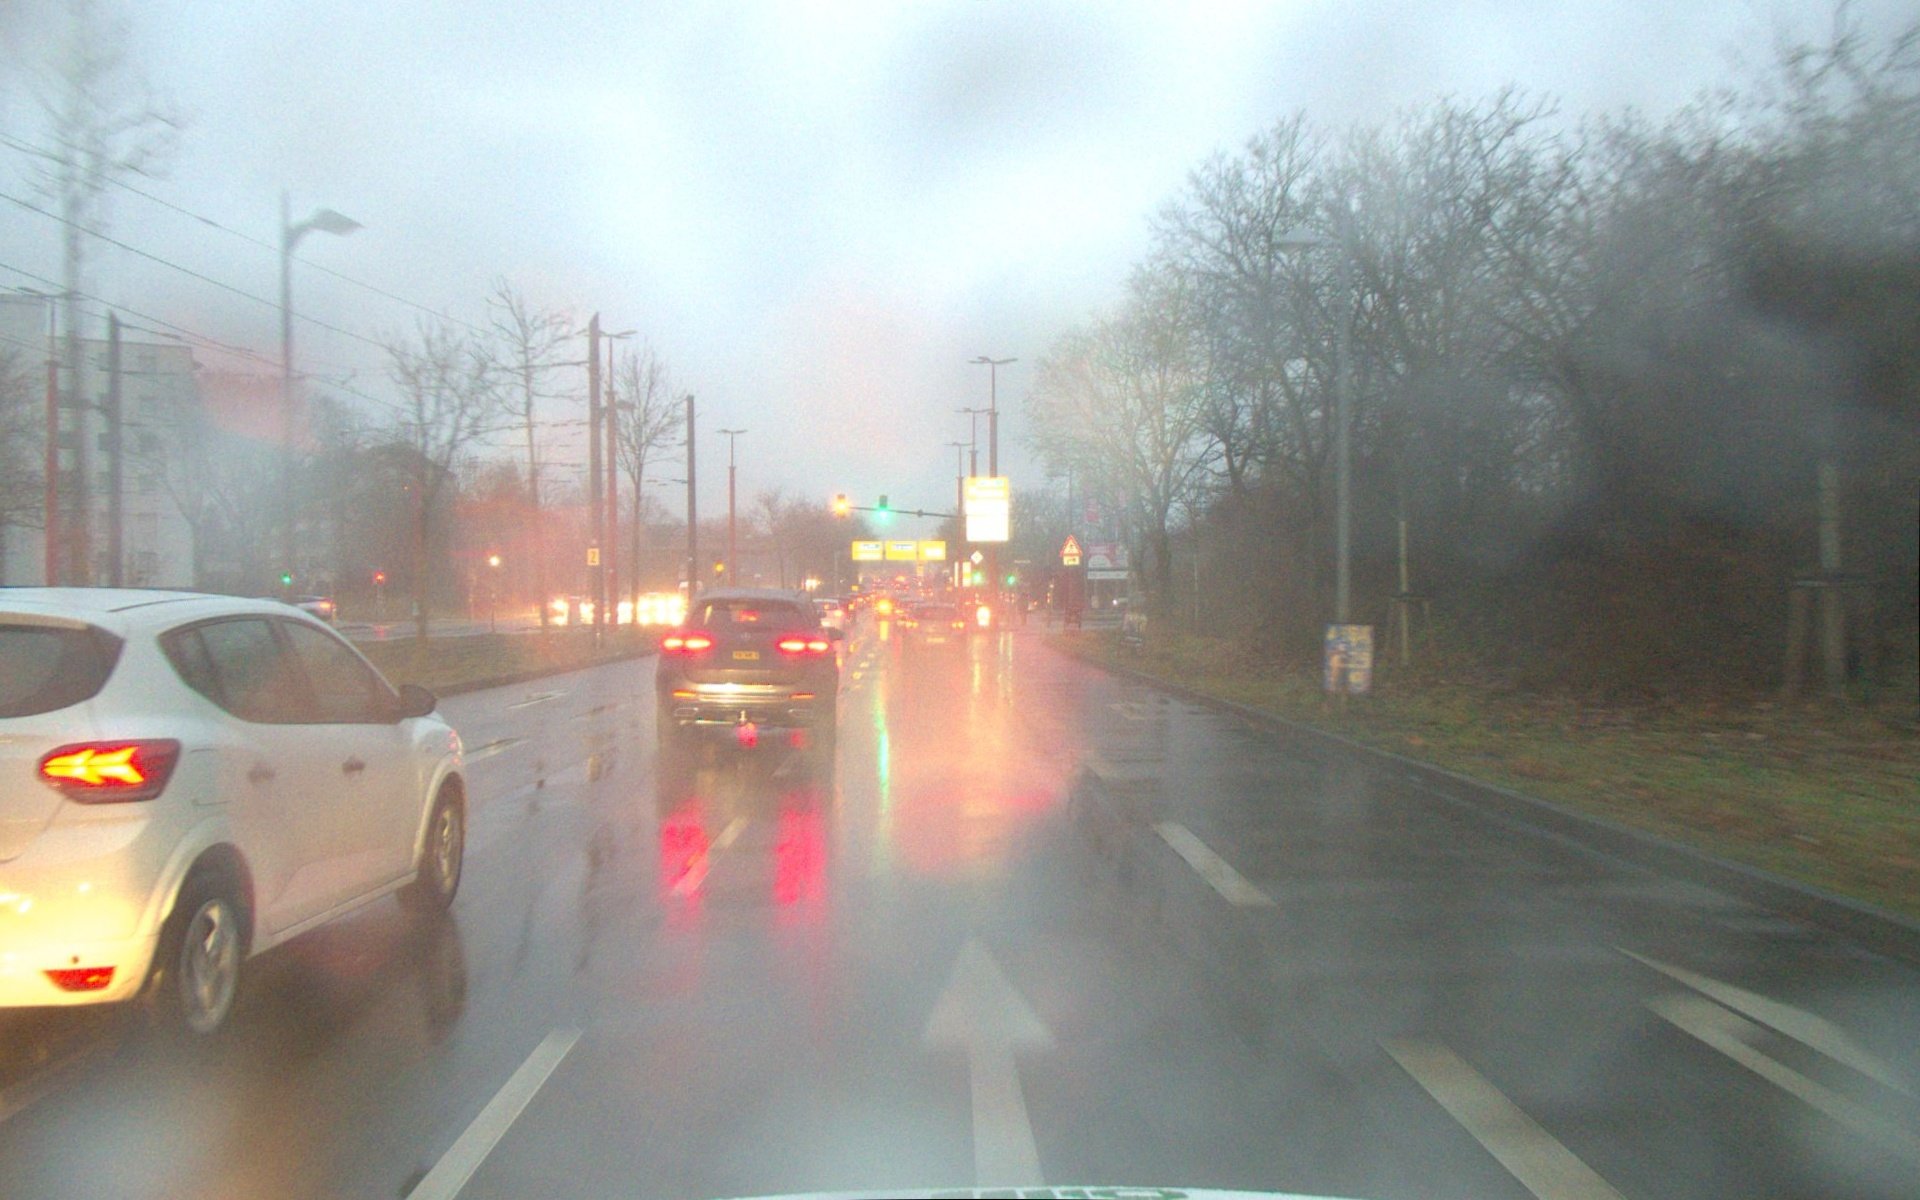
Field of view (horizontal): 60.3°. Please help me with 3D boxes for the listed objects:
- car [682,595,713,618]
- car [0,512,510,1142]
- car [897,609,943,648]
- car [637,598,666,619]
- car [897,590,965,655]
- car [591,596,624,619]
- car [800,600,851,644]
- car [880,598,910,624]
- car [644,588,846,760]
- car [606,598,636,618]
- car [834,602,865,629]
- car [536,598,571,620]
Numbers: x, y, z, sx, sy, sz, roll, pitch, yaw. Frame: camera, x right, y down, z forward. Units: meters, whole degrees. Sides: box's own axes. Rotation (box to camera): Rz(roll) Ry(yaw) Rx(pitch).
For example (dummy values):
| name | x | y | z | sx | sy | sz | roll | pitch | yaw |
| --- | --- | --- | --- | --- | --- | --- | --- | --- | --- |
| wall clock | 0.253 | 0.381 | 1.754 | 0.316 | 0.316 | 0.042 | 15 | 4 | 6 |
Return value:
| name | x | y | z | sx | sy | sz | roll | pitch | yaw |
| --- | --- | --- | --- | --- | --- | --- | --- | --- | --- |
| car | -18.918 | 0.443 | 119.479 | 1.820 | 1.609 | 4.077 | 0 | 0 | -4 |
| car | -3.114 | 0.605 | 6.459 | 1.679 | 1.677 | 4.145 | 0 | 0 | -2 |
| car | -1.817 | 1.252 | 73.935 | 1.953 | 1.691 | 3.998 | 1 | -1 | -2 |
| car | -22.245 | 0.597 | 119.484 | 1.619 | 1.445 | 3.324 | 0 | 0 | -3 |
| car | -0.816 | 0.592 | 45.735 | 1.785 | 1.677 | 4.465 | 0 | 0 | -2 |
| car | -25.066 | 0.525 | 117.736 | 1.735 | 1.581 | 3.944 | 0 | 0 | -3 |
| car | -5.336 | 0.865 | 65.994 | 1.785 | 1.677 | 3.999 | 0 | 0 | -2 |
| car | -4.039 | 0.663 | 102.799 | 1.785 | 1.530 | 3.999 | 0 | 0 | -2 |
| car | -2.268 | 0.723 | 18.492 | 1.785 | 1.677 | 4.465 | 0 | 0 | -2 |
| car | -25.554 | 0.581 | 124.751 | 1.589 | 1.452 | 3.907 | 0 | 0 | -3 |
| car | -5.713 | 0.800 | 85.955 | 1.475 | 1.362 | 3.999 | 0 | 0 | -2 |
| car | -29.062 | 0.627 | 118.308 | 1.586 | 1.521 | 4.015 | 0 | 0 | -2 |
